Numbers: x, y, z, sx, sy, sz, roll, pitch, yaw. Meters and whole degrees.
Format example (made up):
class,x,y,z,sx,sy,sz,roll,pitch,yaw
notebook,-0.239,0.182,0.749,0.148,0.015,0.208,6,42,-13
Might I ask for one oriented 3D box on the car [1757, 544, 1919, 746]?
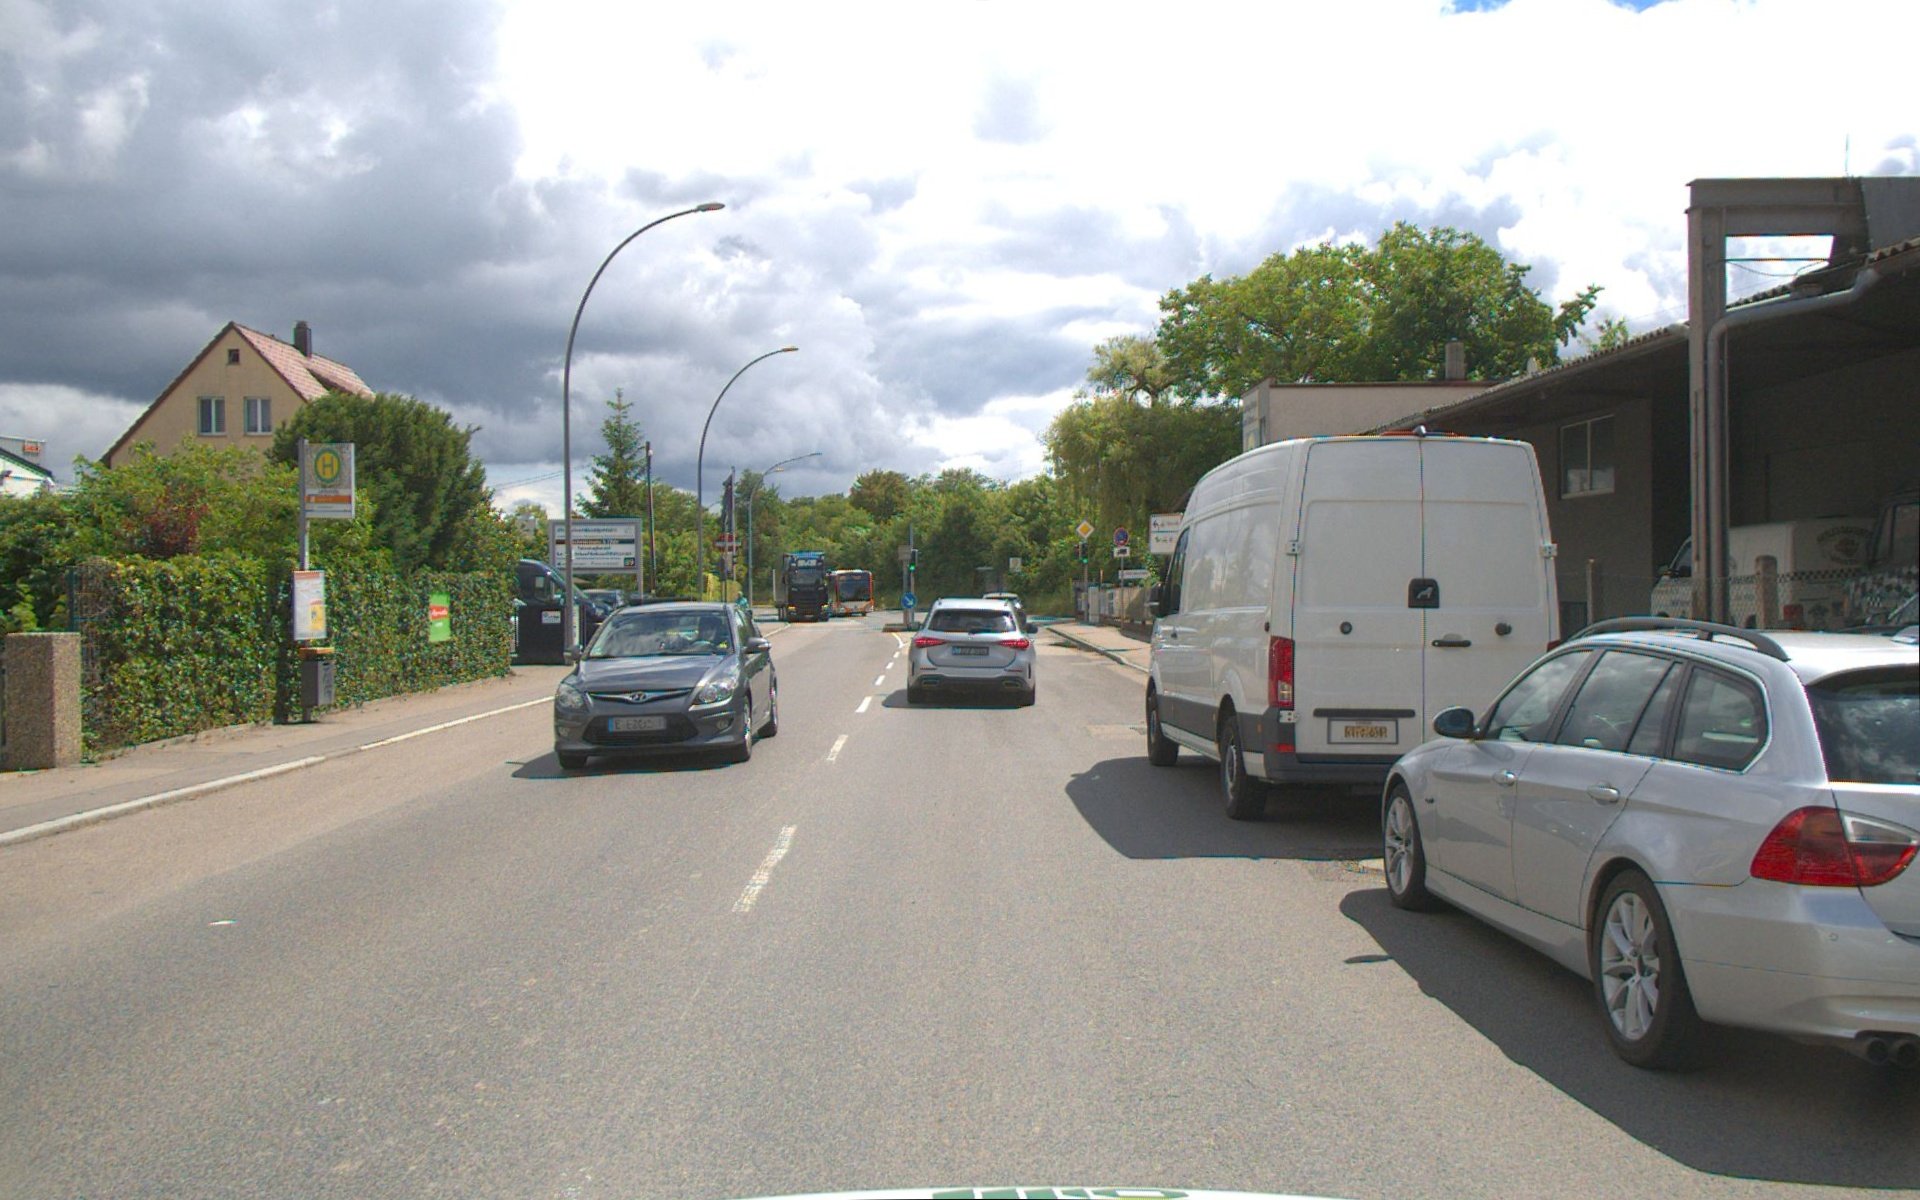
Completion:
class,x,y,z,sx,sy,sz,roll,pitch,yaw
car,8.055,0.327,12.396,1.728,1.515,4.926,-1,1,-1

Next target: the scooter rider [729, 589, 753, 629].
class,x,y,z,sx,sy,sz,roll,pitch,yaw
scooter rider,-8.941,0.351,67.476,0.860,1.617,0.796,-1,0,-1

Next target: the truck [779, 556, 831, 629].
class,x,y,z,sx,sy,sz,roll,pitch,yaw
truck,-9.472,-0.426,100.132,2.384,4.203,9.129,1,0,-10

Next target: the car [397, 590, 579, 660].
class,x,y,z,sx,sy,sz,roll,pitch,yaw
car,-10.969,0.534,38.890,1.951,1.512,5.345,-1,0,10

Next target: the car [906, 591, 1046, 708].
class,x,y,z,sx,sy,sz,roll,pitch,yaw
car,0.203,0.650,24.001,1.846,1.535,4.000,0,0,0

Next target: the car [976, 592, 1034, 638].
class,x,y,z,sx,sy,sz,roll,pitch,yaw
car,1.560,0.492,58.236,1.846,1.535,3.999,0,0,-1

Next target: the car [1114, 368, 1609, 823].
class,x,y,z,sx,sy,sz,roll,pitch,yaw
car,2.781,-0.049,13.483,2.170,2.736,6.655,-2,0,-2

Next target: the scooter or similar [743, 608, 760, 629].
class,x,y,z,sx,sy,sz,roll,pitch,yaw
scooter or similar,-8.449,0.752,66.893,0.599,0.846,0.659,1,0,0

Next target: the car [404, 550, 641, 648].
class,x,y,z,sx,sy,sz,roll,pitch,yaw
car,-12.162,-0.027,46.304,5.914,2.540,2.477,-1,0,-1

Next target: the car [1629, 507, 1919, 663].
class,x,y,z,sx,sy,sz,roll,pitch,yaw
car,11.381,-0.232,23.225,1.953,1.943,4.852,-1,1,-1

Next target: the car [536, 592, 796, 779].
class,x,y,z,sx,sy,sz,roll,pitch,yaw
car,-2.729,0.723,16.329,1.862,1.544,4.317,-2,0,-2

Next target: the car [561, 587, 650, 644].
class,x,y,z,sx,sy,sz,roll,pitch,yaw
car,-10.726,0.434,50.291,1.991,1.623,4.281,-1,0,-3

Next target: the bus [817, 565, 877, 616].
class,x,y,z,sx,sy,sz,roll,pitch,yaw
bus,-8.042,-0.606,116.186,2.728,3.323,12.091,-2,0,-11

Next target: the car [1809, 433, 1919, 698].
class,x,y,z,sx,sy,sz,roll,pitch,yaw
car,10.864,-0.350,16.336,1.977,2.728,5.496,-1,1,-2
